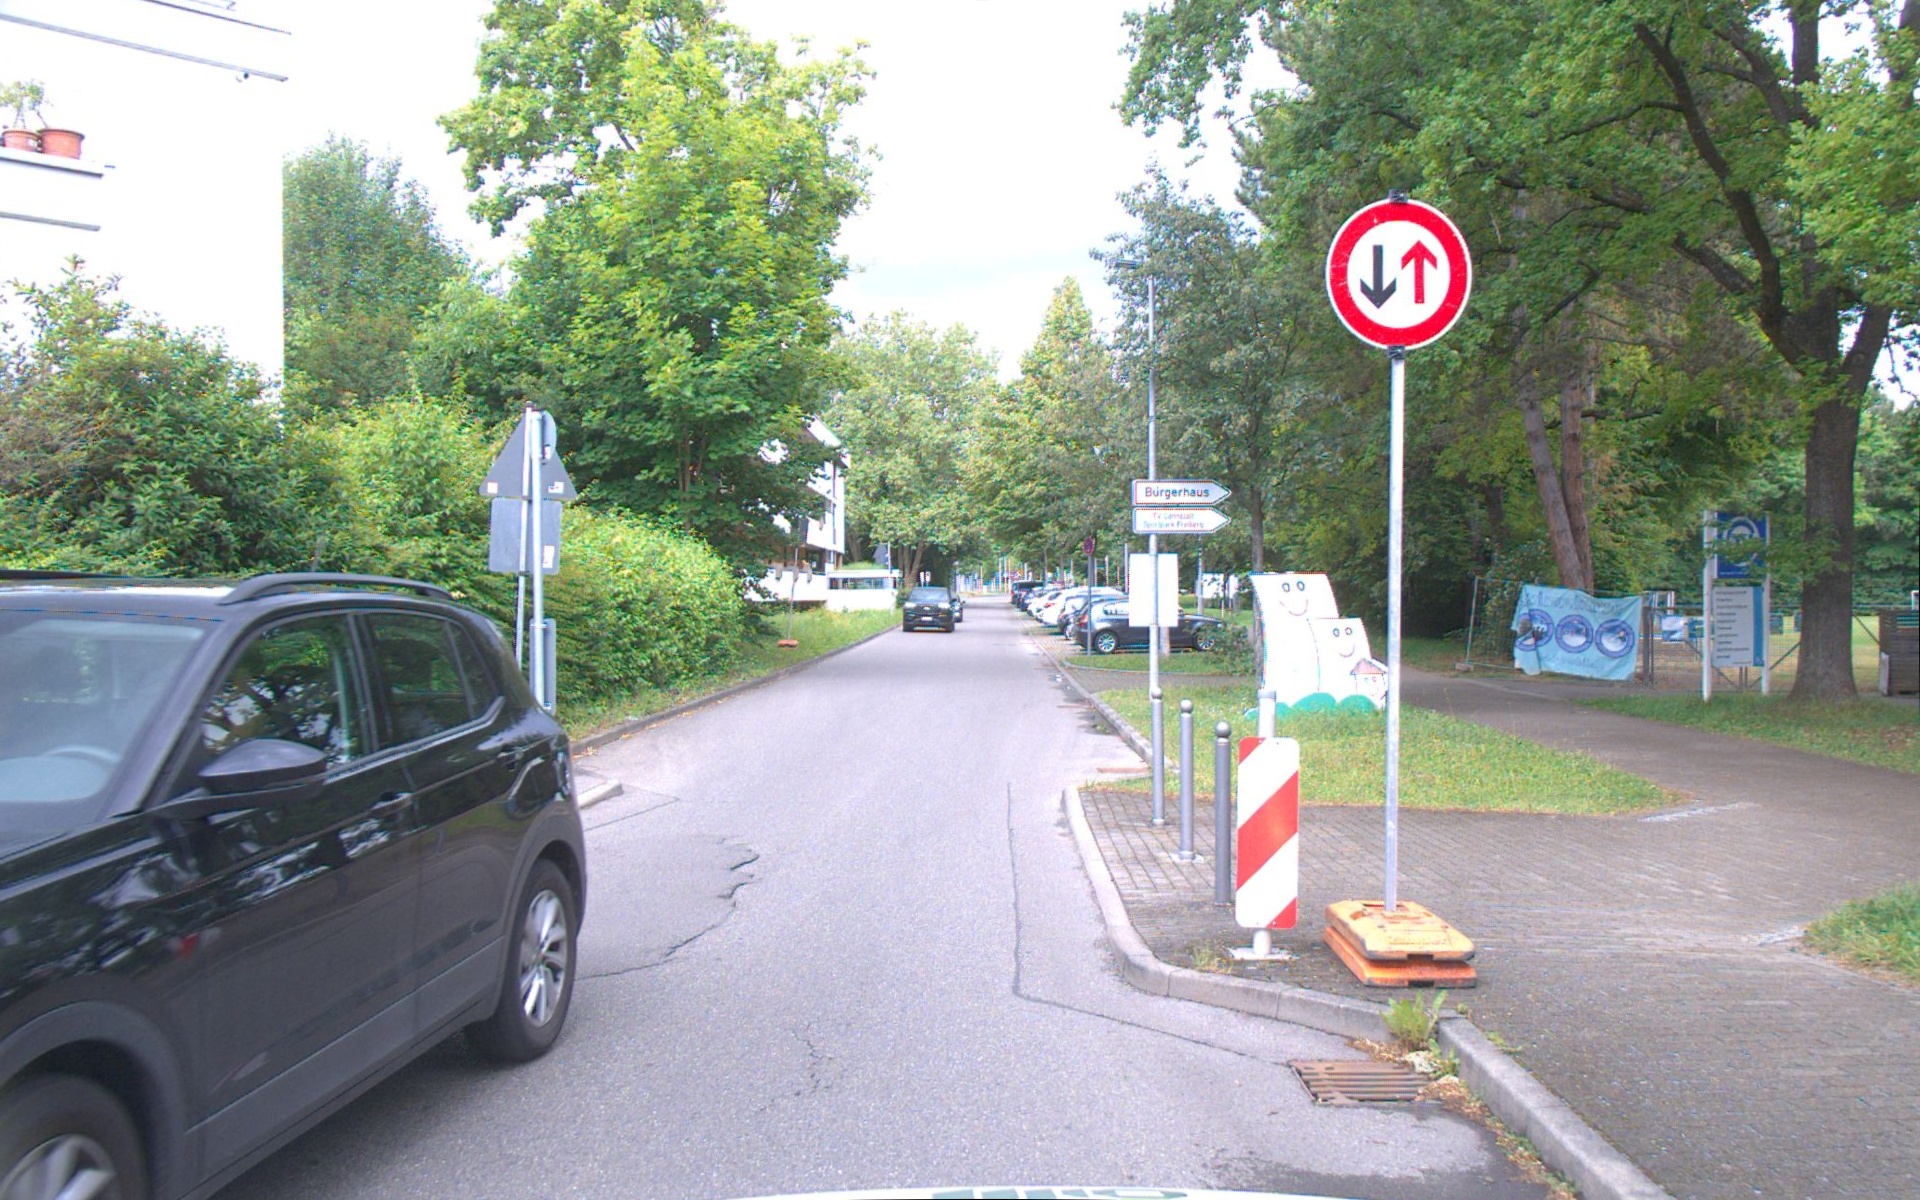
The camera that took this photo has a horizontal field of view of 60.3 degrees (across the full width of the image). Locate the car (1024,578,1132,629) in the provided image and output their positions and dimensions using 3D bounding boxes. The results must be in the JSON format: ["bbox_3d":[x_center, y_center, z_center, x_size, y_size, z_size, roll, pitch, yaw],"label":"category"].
[{"bbox_3d":[4.628,0.126,65.389,3.982,1.716,1.821,-4,0,-3],"label":"car"}]

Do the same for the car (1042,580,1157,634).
[{"bbox_3d":[5.184,0.266,61.649,3.982,1.716,1.821,-4,0,-3],"label":"car"}]

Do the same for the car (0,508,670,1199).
[{"bbox_3d":[-2.261,0.652,4.398,1.765,1.619,4.299,0,0,7],"label":"car"}]

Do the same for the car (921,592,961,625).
[{"bbox_3d":[-0.920,0.402,83.132,1.928,1.603,4.338,0,0,0],"label":"car"}]

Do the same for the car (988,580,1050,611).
[{"bbox_3d":[3.981,-0.325,111.815,3.982,1.801,1.821,-4,0,-3],"label":"car"}]

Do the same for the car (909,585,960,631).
[{"bbox_3d":[-0.979,0.290,65.904,1.928,1.778,4.338,0,0,0],"label":"car"}]

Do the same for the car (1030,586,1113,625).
[{"bbox_3d":[5.719,0.281,85.162,3.982,1.716,1.821,-4,0,-3],"label":"car"}]

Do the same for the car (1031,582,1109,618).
[{"bbox_3d":[6.038,0.002,90.931,3.982,1.716,1.821,-4,0,-3],"label":"car"}]

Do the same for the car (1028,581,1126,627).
[{"bbox_3d":[5.079,0.162,72.149,3.982,1.716,1.821,-4,0,-3],"label":"car"}]

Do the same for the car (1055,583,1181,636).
[{"bbox_3d":[5.353,0.307,56.370,3.982,1.514,1.821,-4,0,-3],"label":"car"}]

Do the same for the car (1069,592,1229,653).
[{"bbox_3d":[4.967,0.598,43.871,3.980,1.459,2.000,-2,-1,0],"label":"car"}]

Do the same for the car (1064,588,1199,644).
[{"bbox_3d":[5.289,0.479,51.454,3.980,1.595,1.822,-2,0,0],"label":"car"}]

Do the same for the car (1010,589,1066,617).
[{"bbox_3d":[5.841,0.244,124.467,3.982,1.801,1.821,-4,0,-3],"label":"car"}]

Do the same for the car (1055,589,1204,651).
[{"bbox_3d":[4.750,0.573,46.687,3.980,1.596,1.822,-2,-2,0],"label":"car"}]
